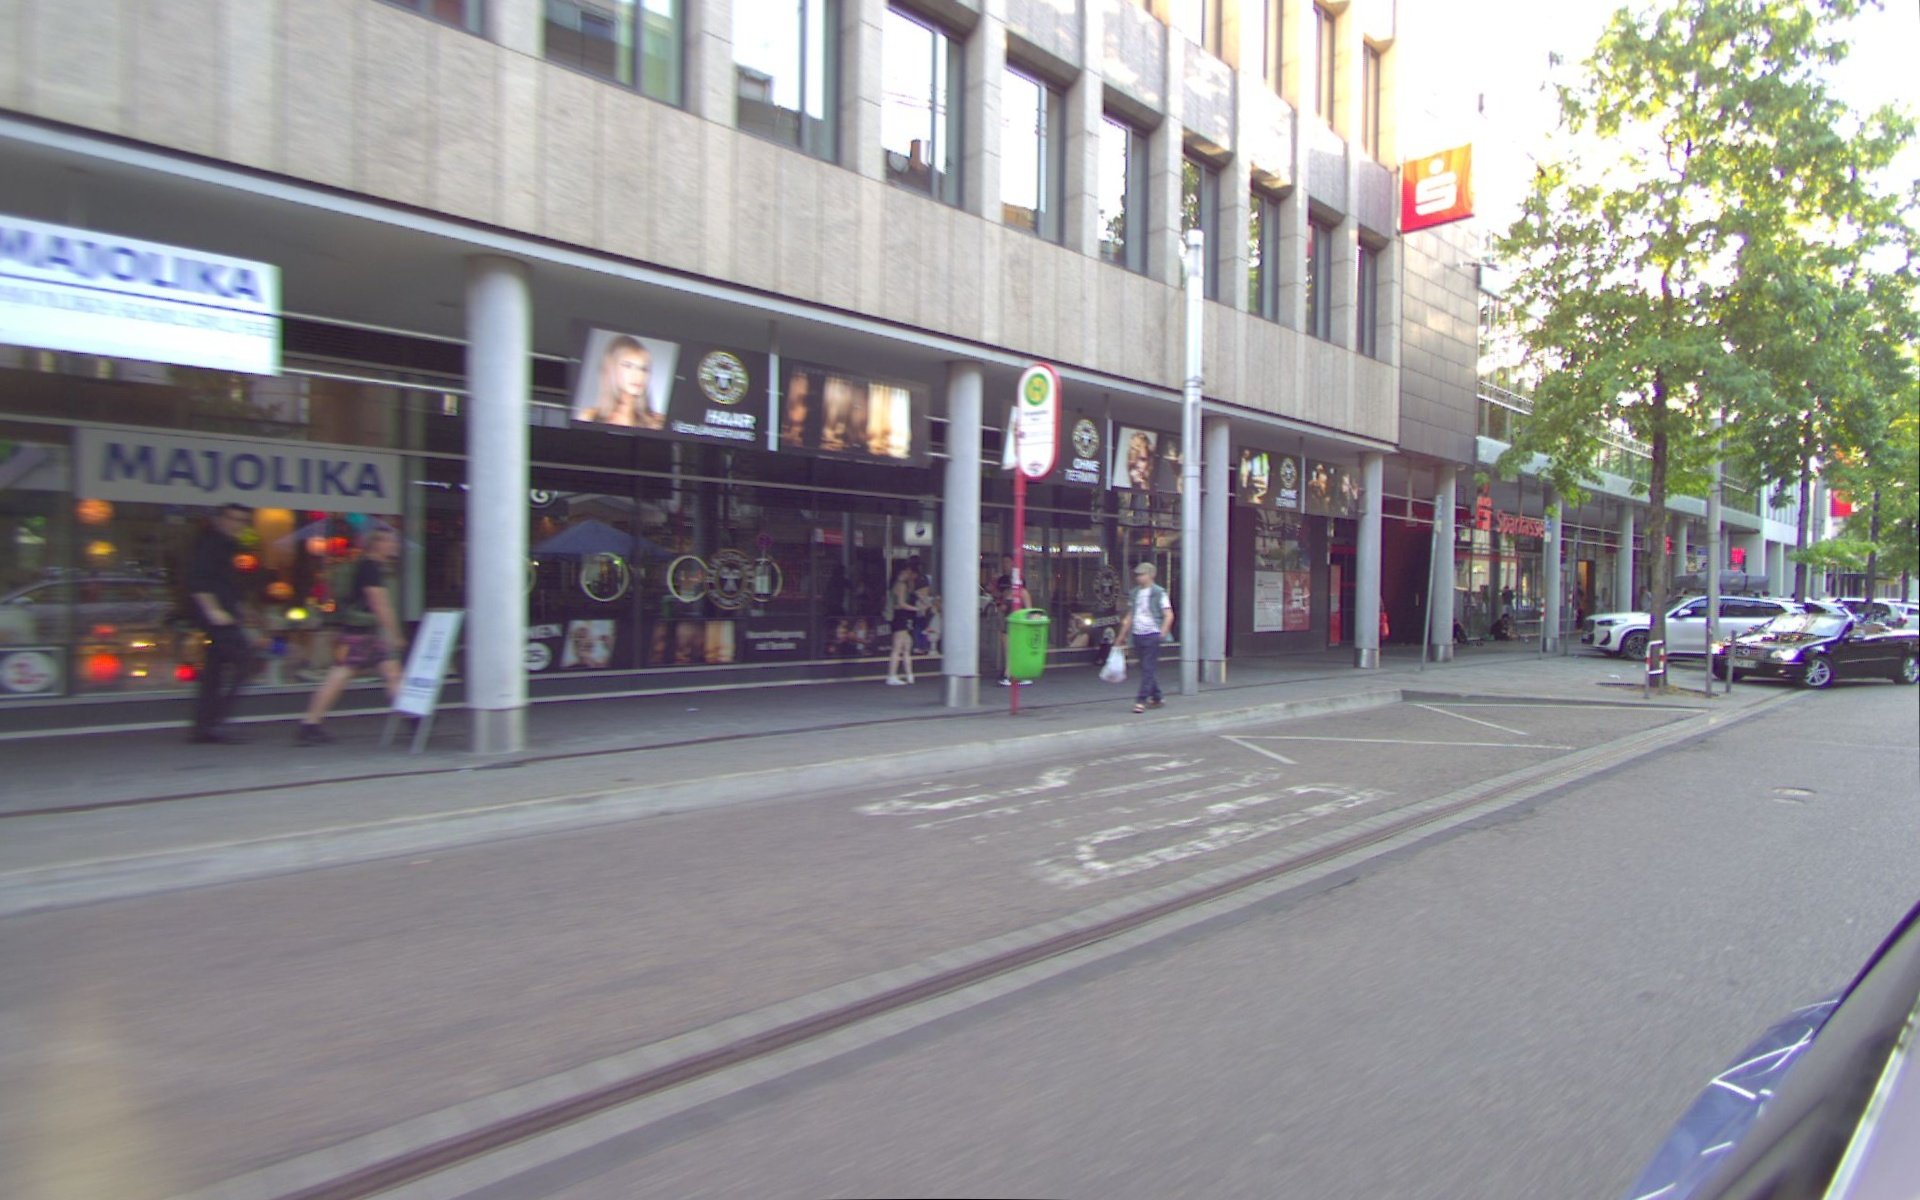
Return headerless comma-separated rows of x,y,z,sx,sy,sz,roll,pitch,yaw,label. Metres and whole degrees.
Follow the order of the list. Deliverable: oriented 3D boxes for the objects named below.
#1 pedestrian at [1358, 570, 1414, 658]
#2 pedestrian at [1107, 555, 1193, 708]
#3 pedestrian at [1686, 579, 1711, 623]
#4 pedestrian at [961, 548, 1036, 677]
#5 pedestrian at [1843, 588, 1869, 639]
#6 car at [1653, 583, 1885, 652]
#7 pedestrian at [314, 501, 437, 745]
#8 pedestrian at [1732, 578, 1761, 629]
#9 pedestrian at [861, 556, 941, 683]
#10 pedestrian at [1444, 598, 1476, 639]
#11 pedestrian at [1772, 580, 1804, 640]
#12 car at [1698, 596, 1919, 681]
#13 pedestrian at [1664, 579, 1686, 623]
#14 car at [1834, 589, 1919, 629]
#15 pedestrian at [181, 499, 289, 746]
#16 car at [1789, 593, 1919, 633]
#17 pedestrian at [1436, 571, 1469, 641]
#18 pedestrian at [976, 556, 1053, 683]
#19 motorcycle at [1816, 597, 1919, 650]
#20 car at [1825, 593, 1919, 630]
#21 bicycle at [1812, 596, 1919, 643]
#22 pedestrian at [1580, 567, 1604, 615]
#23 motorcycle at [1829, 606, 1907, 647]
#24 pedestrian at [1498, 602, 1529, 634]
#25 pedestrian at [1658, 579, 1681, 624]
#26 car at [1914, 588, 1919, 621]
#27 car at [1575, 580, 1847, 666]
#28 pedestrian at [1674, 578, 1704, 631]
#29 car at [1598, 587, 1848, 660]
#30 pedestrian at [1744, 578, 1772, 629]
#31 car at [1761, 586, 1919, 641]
8.266,0.253,19.637,0.728,1.664,0.749,0,2,-42,pedestrian
2.087,0.331,11.133,0.627,1.608,0.669,0,-1,-42,pedestrian
28.725,0.027,39.352,0.617,1.712,0.617,0,2,-41,pedestrian
0.556,0.154,14.607,0.849,1.794,0.674,-1,2,-43,pedestrian
30.924,0.463,34.926,0.616,1.712,0.618,1,1,44,pedestrian
22.450,0.436,28.300,4.570,1.607,1.910,3,2,15,car
-4.896,0.166,8.474,0.782,1.912,0.708,0,2,-41,pedestrian
26.632,0.108,34.275,0.617,1.712,0.617,0,2,-41,pedestrian
-0.800,0.239,13.739,0.805,1.664,0.711,-1,2,-43,pedestrian
13.387,0.484,27.097,0.625,1.048,0.550,2,2,40,pedestrian
25.541,0.303,31.220,0.617,1.822,0.617,0,2,-41,pedestrian
16.443,0.664,19.135,4.469,1.426,1.804,-1,0,-20,car
28.225,0.021,39.937,0.617,1.712,0.557,0,2,-41,pedestrian
44.080,0.400,47.653,3.957,1.809,1.849,-2,-1,25,car
-5.937,0.159,8.286,0.671,1.912,0.617,0,2,-40,pedestrian
37.743,0.549,42.571,3.948,1.530,1.789,-2,-1,19,car
12.769,0.145,26.245,0.617,1.794,0.557,0,2,-41,pedestrian
0.740,0.244,13.808,0.775,1.664,0.682,-1,2,-43,pedestrian
26.121,0.661,29.021,2.071,1.370,1.157,2,2,0,motorcycle
40.828,0.510,44.333,3.948,1.530,1.853,-2,-1,19,car
29.649,0.632,33.048,2.642,1.475,0.724,-1,-1,22,bicycle
22.965,-0.332,36.781,0.620,1.712,0.554,1,1,20,pedestrian
27.057,0.772,30.177,1.554,1.113,0.624,3,2,24,motorcycle
16.311,0.532,29.828,0.548,0.892,0.627,-1,2,-42,pedestrian
27.000,0.046,38.525,0.617,1.712,0.557,0,2,-41,pedestrian
54.524,0.211,54.934,3.919,1.809,1.867,-1,-1,-7,car
17.157,0.481,23.405,4.575,1.650,1.908,3,1,17,car
23.864,0.136,33.125,0.617,1.712,0.617,0,2,-41,pedestrian
18.934,0.522,25.407,4.583,1.457,1.905,3,2,22,car
27.415,0.097,34.756,0.617,1.712,0.617,0,2,-41,pedestrian
33.014,0.497,37.802,4.397,1.904,1.793,-2,-1,12,car
